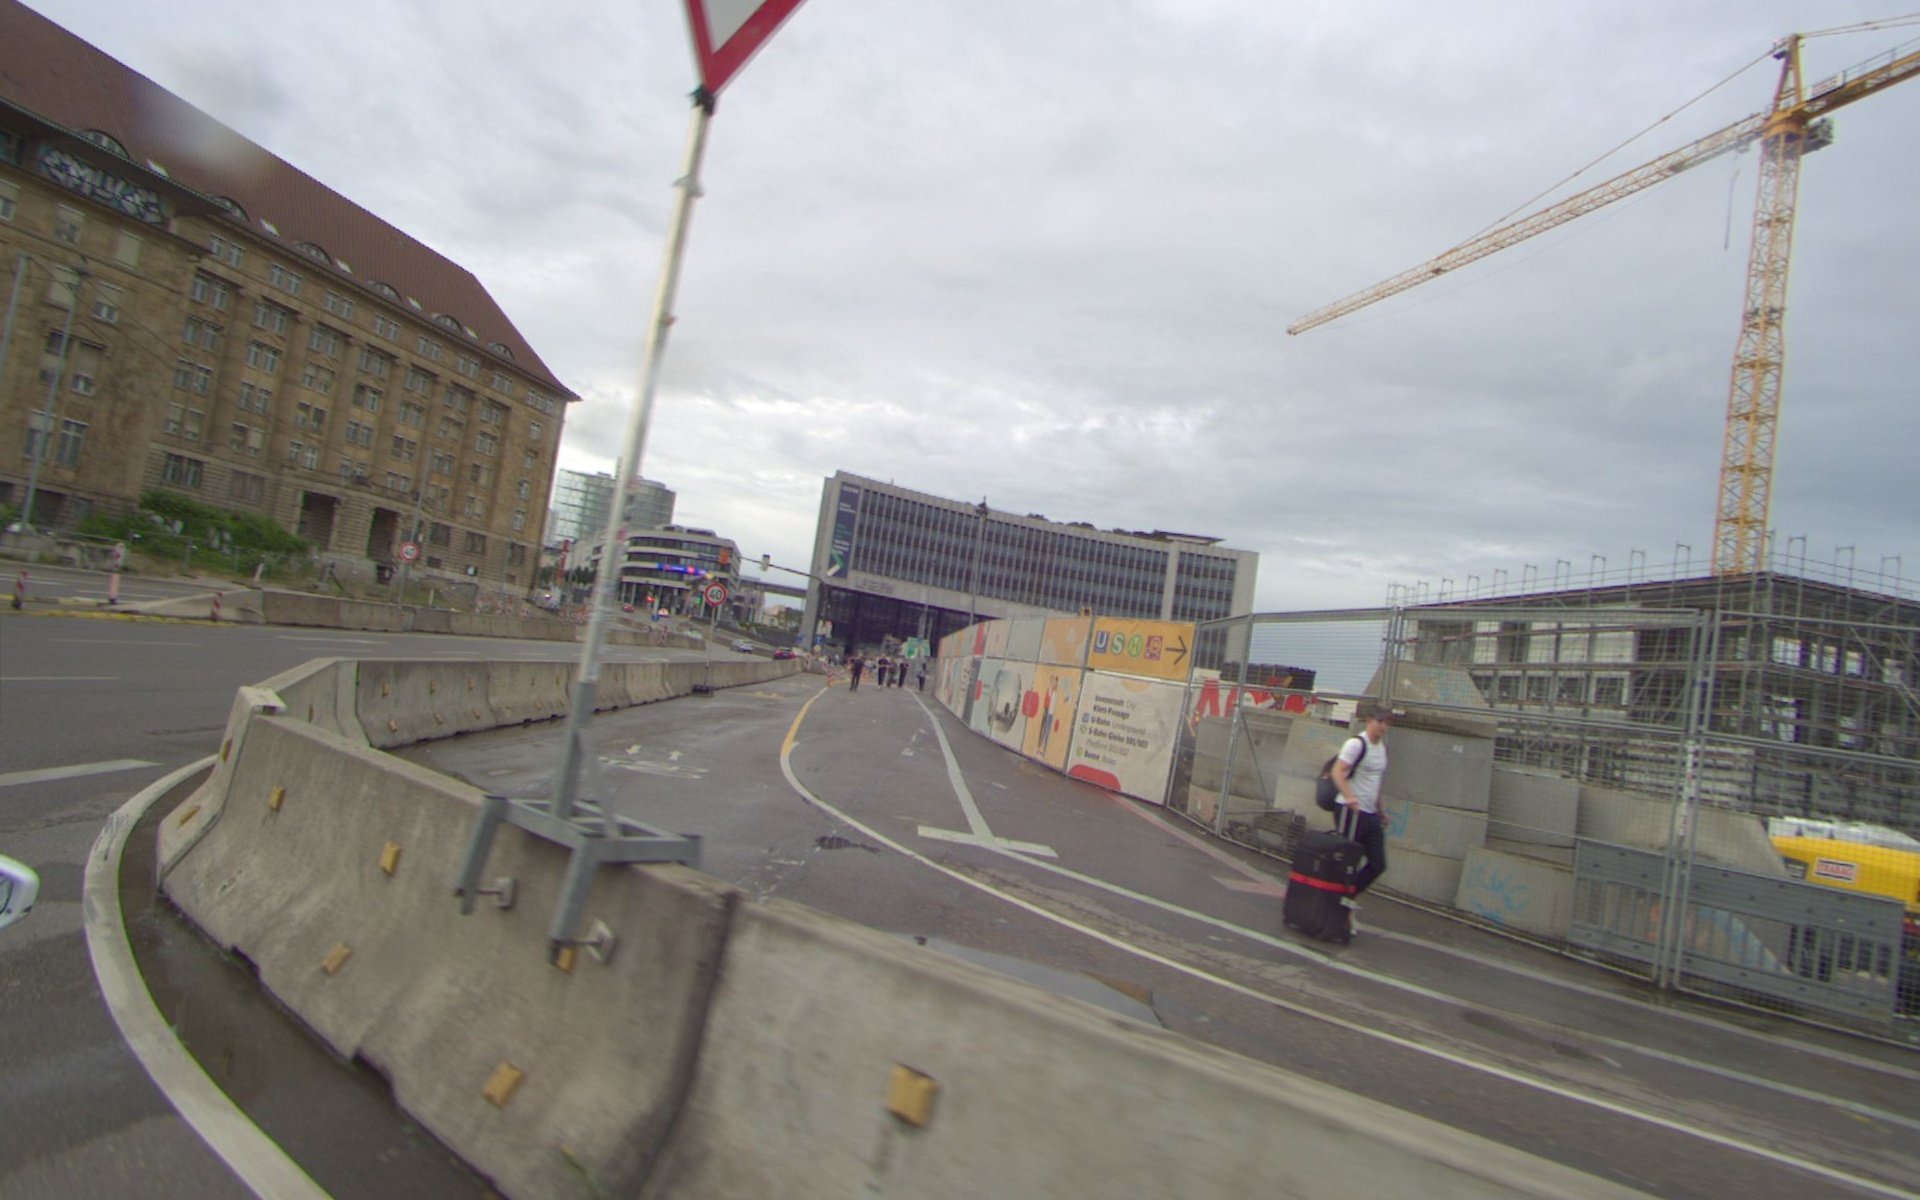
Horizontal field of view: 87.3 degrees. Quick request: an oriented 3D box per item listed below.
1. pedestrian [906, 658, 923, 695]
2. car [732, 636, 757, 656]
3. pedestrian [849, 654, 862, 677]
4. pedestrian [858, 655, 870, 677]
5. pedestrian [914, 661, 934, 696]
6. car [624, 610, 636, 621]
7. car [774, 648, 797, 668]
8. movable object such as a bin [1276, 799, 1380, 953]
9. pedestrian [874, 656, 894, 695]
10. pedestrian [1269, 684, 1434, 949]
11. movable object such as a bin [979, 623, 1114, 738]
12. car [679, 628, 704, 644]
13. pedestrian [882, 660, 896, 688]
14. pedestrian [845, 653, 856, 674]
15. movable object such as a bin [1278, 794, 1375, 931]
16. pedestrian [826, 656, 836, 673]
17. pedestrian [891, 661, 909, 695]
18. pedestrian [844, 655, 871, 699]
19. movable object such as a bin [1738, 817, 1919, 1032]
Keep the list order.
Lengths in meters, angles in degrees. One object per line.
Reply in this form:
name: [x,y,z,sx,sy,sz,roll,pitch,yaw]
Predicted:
pedestrian: [-2.665,4.460,58.851,0.669,2.036,0.686,8,-1,-4]
car: [-24.739,5.260,115.366,1.724,1.895,3.758,10,-4,-24]
pedestrian: [-9.393,5.882,90.666,0.858,1.882,0.948,9,-3,-9]
pedestrian: [-8.857,6.094,93.180,0.769,1.882,1.057,9,-3,-9]
pedestrian: [-2.069,4.536,58.022,0.776,1.882,0.682,9,-2,-9]
car: [-63.920,2.943,194.723,1.973,1.823,4.250,10,-3,-19]
car: [-15.634,5.192,89.887,1.654,1.522,3.745,9,-6,-12]
movable object such as a bin: [2.827,2.091,7.723,0.514,1.027,0.431,6,-4,39]
pedestrian: [-3.925,3.917,52.041,0.785,1.897,0.820,9,-3,-4]
pedestrian: [3.189,1.712,8.151,0.767,1.884,1.001,6,-4,39]
movable object such as a bin: [3.112,2.951,37.662,3.873,3.530,4.356,8,-3,-6]
car: [-32.660,4.319,122.293,1.731,1.521,3.726,11,-4,-30]
pedestrian: [-5.130,5.307,72.395,0.656,1.882,0.682,9,-2,-9]
pedestrian: [-10.803,6.249,99.112,0.769,1.882,0.811,9,-2,-9]
movable object such as a bin: [3.193,2.260,8.756,0.545,1.027,0.518,6,-4,39]
pedestrian: [-13.720,6.806,106.806,0.742,1.660,0.821,9,-2,-18]
pedestrian: [-3.501,4.534,58.745,0.785,1.853,0.626,9,-3,-4]
pedestrian: [-4.628,3.498,45.586,0.912,1.853,0.687,9,-3,-4]
movable object such as a bin: [8.667,3.017,9.415,1.166,1.487,1.897,8,-2,2]
